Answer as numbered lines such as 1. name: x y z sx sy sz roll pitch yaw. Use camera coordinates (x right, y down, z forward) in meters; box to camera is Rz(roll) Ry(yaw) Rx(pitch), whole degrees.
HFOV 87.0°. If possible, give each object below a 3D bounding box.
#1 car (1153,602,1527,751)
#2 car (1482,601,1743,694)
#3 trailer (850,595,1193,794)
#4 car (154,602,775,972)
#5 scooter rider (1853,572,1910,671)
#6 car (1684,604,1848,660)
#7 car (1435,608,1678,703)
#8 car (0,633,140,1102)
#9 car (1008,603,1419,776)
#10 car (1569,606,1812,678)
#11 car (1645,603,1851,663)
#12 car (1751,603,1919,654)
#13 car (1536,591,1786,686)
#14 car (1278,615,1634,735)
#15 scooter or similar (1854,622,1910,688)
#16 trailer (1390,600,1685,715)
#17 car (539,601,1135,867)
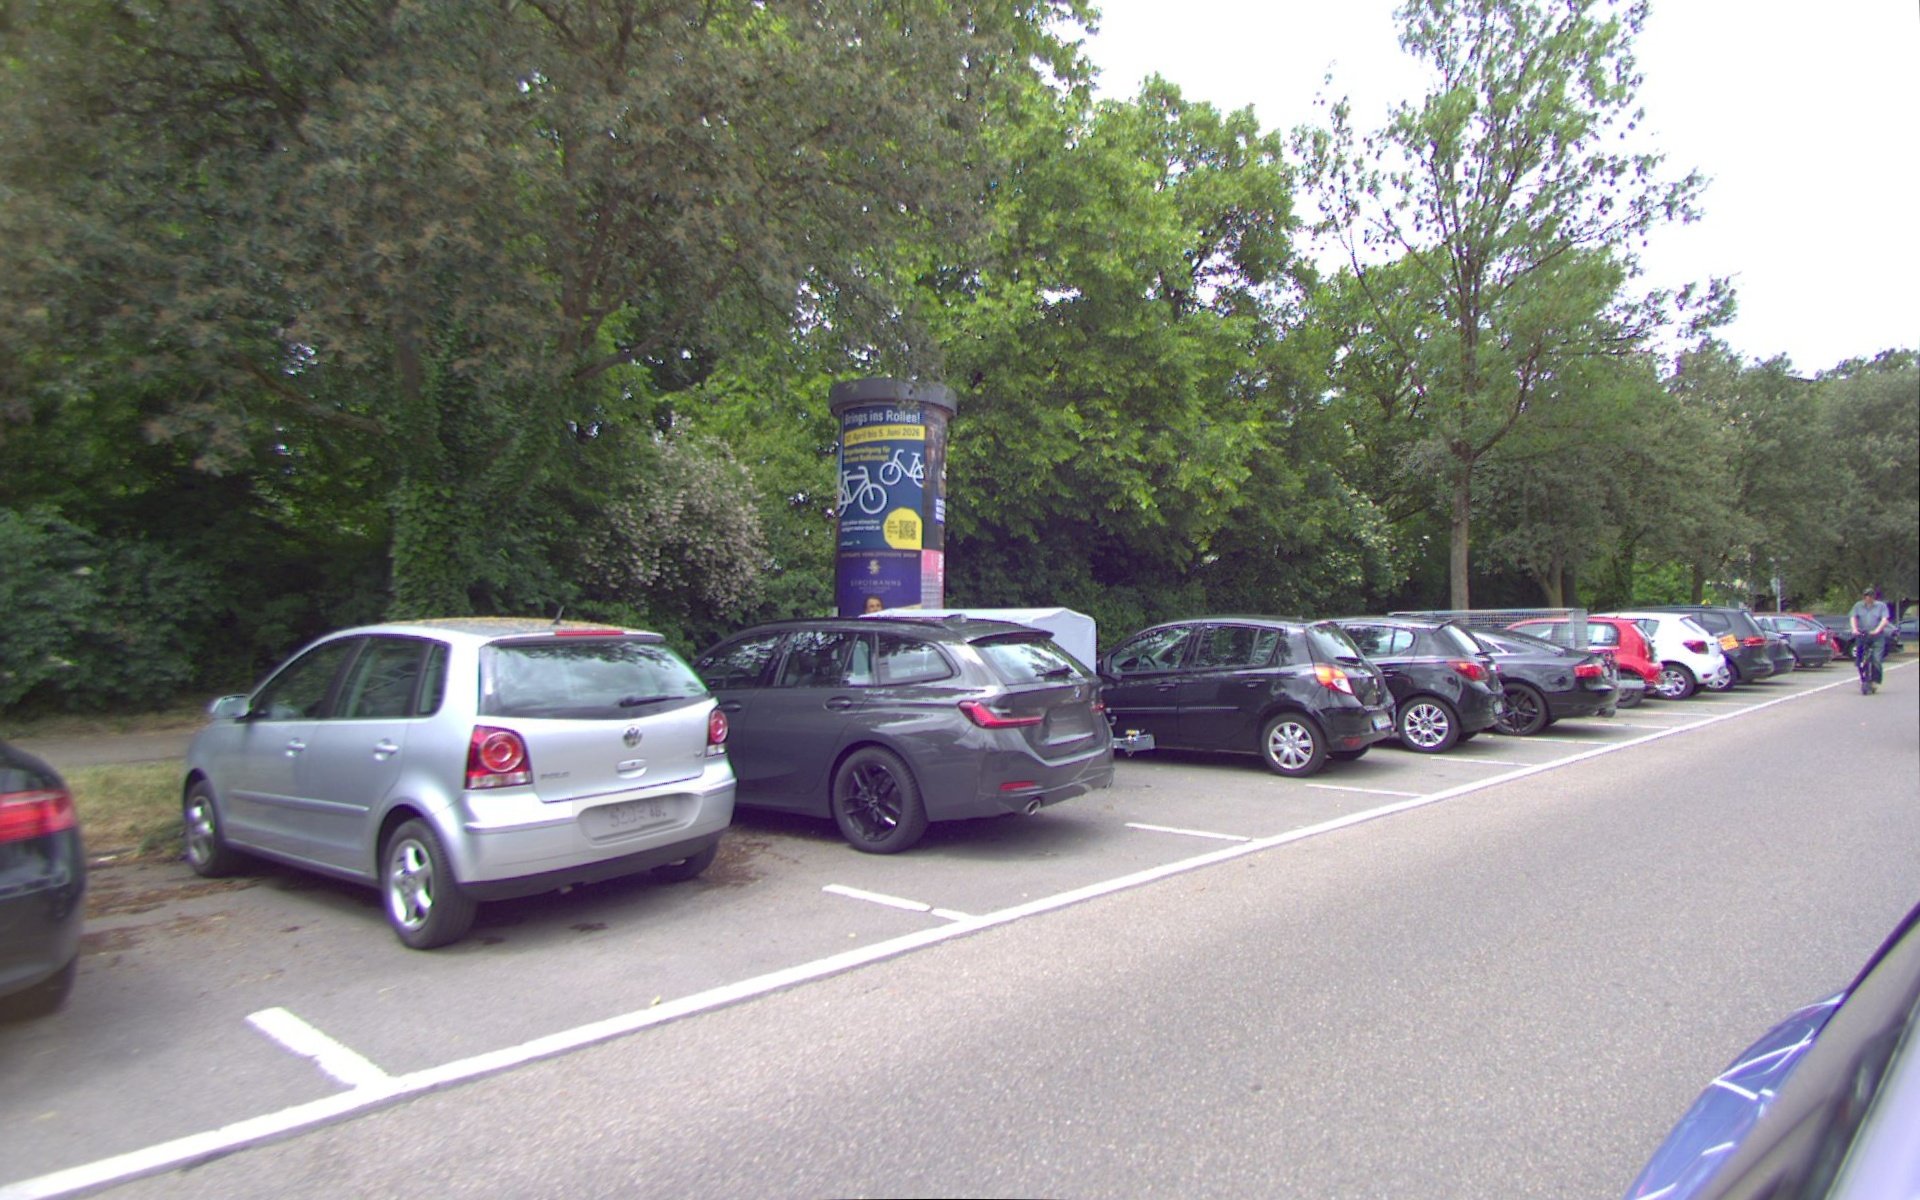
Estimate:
1. car: 4.447 0.825 12.135 3.902 1.506 1.596 -2 -2 38
2. car: 12.056 0.841 18.868 1.579 1.549 3.822 0 -1 -44
3. trailer: 0.497 0.785 9.385 2.978 1.562 1.285 -2 -2 37
4. car: -2.904 0.786 5.720 3.597 1.464 1.614 -2 -2 35
5. scooter rider: 16.802 0.391 18.448 0.681 1.752 1.177 -2 -2 44
6. car: 22.699 0.890 28.649 3.515 1.495 1.570 -2 -2 38
7. car: 10.164 0.896 17.344 3.416 1.464 1.538 -2 -1 38
8. car: -4.844 0.828 3.813 4.300 1.358 1.711 -2 -1 36
9. car: 2.513 0.813 10.530 3.833 1.474 1.611 -2 -2 40
10. car: 15.901 0.892 22.193 4.152 1.425 1.674 -2 -1 39
11. car: 20.991 0.865 27.084 4.215 1.483 1.610 -2 -2 41
12. car: 27.218 0.877 31.428 4.126 1.495 1.554 -2 -2 39
13. car: 14.026 0.741 20.387 3.978 1.747 1.657 -2 -1 39
14. car: 6.503 0.912 13.516 4.028 1.344 1.538 -2 -1 39
15. scooter or similar: 16.848 0.973 18.487 0.681 1.154 1.436 -2 -2 44
16. trailer: 8.716 0.834 15.418 3.680 1.555 1.623 -2 -2 39
17. car: -1.049 0.793 7.440 4.324 1.464 1.615 -1 -2 32
